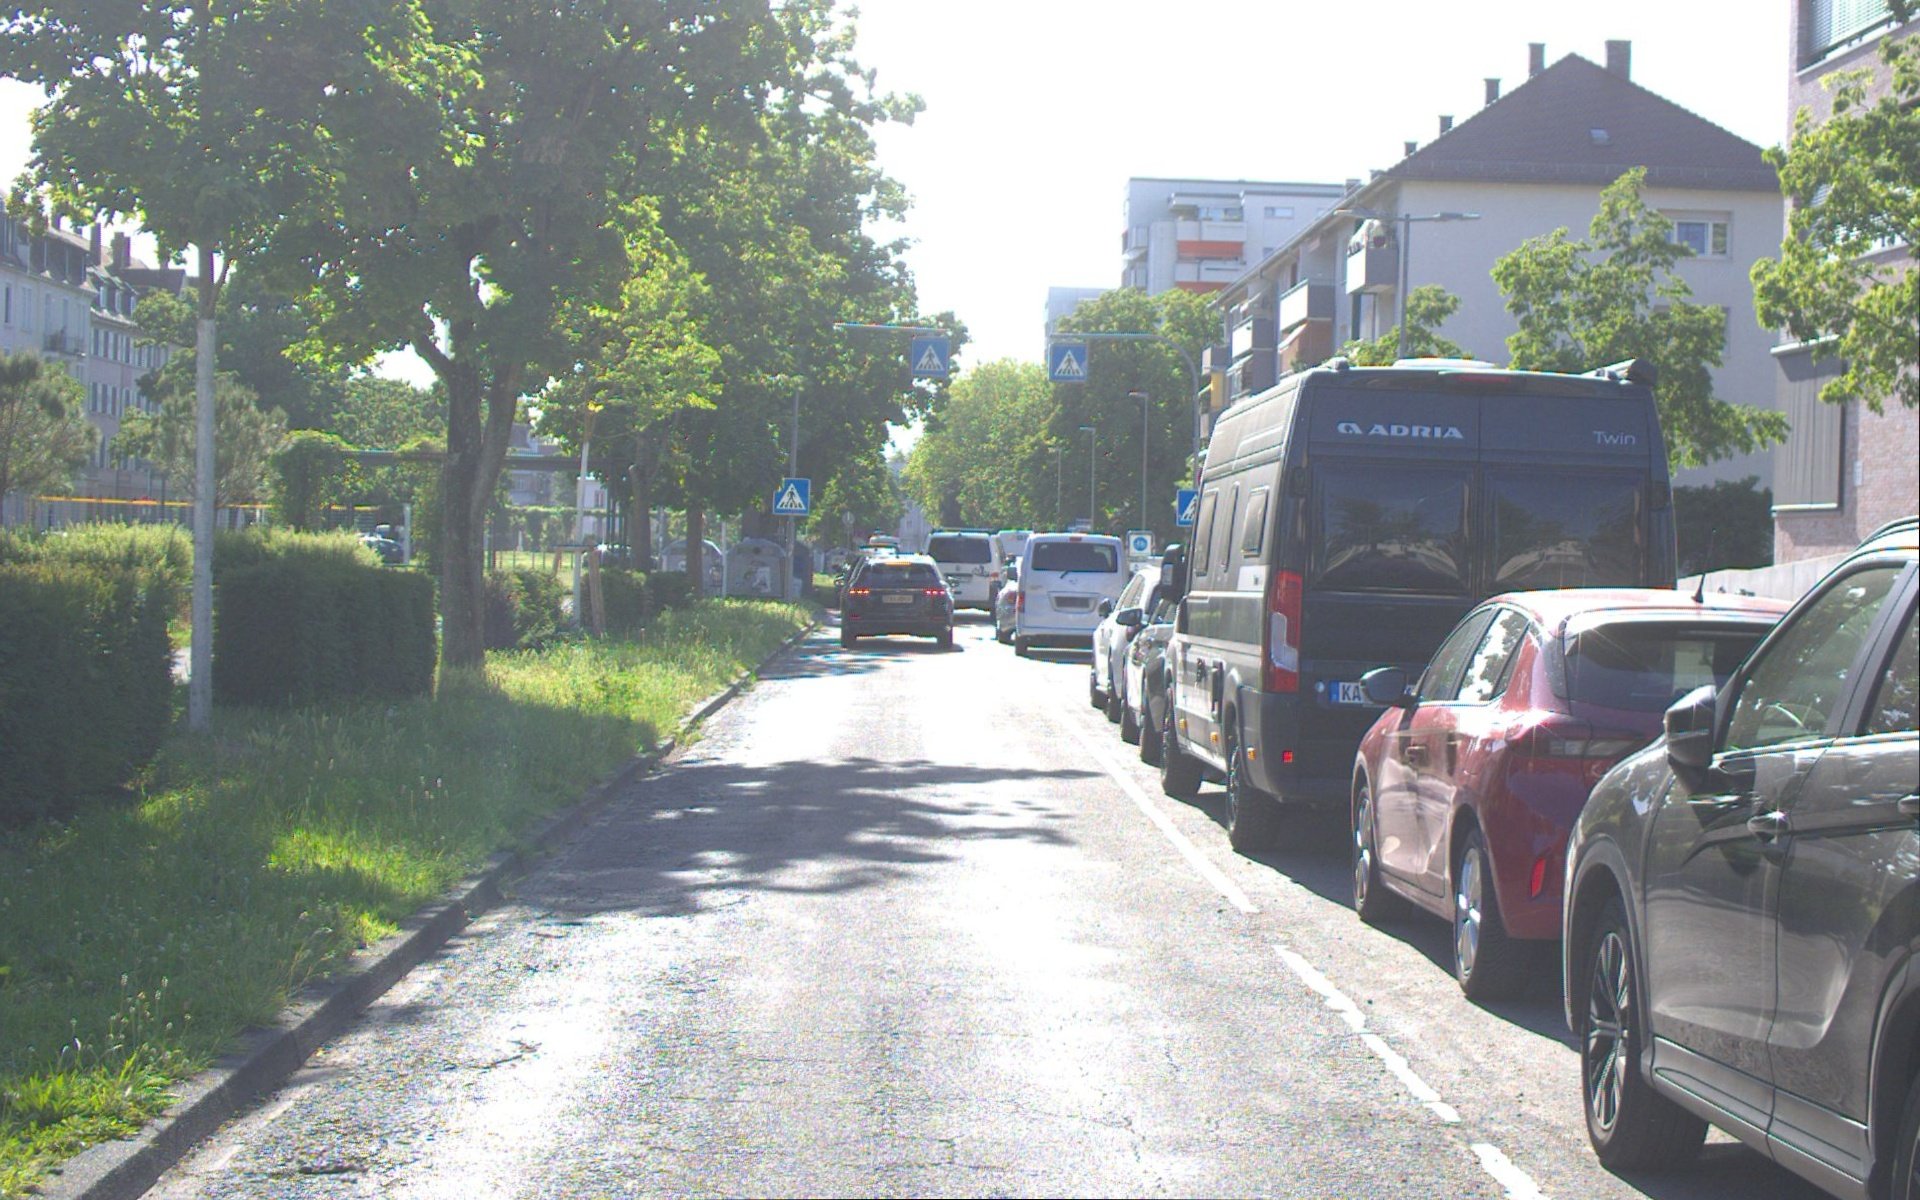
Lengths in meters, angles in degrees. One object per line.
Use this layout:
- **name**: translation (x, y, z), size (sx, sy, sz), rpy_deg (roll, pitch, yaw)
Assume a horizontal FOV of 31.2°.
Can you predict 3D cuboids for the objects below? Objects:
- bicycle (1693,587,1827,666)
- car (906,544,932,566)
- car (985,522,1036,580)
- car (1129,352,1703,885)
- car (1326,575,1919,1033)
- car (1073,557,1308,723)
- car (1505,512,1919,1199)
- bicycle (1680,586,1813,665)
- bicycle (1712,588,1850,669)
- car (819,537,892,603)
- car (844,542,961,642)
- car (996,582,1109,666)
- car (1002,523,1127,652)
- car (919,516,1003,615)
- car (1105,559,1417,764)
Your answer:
- **bicycle**: translation (11.414, 0.374, 49.081), size (1.794, 1.104, 0.500), rpy_deg (-1, 1, -3)
- **car**: translation (-2.905, -3.147, 242.547), size (1.794, 1.505, 4.000), rpy_deg (1, 1, -1)
- **car**: translation (2.200, -2.163, 151.472), size (1.993, 2.422, 4.500), rpy_deg (4, 1, -1)
- **car**: translation (2.353, 0.044, 19.782), size (2.115, 2.507, 6.533), rpy_deg (2, 1, -2)
- **car**: translation (2.597, 0.665, 13.329), size (1.794, 1.450, 3.950), rpy_deg (2, 1, -2)
- **car**: translation (2.129, 0.327, 32.938), size (1.794, 1.415, 4.658), rpy_deg (2, 1, -1)
- **car**: translation (2.551, 0.666, 7.484), size (1.846, 1.634, 4.504), rpy_deg (2, 1, -2)
- **bicycle**: translation (11.343, 0.365, 49.602), size (1.794, 1.104, 0.500), rpy_deg (-1, 1, -3)
- **bicycle**: translation (11.440, 0.397, 47.938), size (1.794, 1.104, 0.500), rpy_deg (-1, 1, -3)
- **car**: translation (-2.730, -0.803, 90.676), size (1.794, 1.619, 4.000), rpy_deg (2, 1, -1)
- **car**: translation (-0.917, -0.160, 55.708), size (1.794, 1.505, 4.000), rpy_deg (2, 1, -1)
- **car**: translation (1.564, 0.393, 59.384), size (1.764, 1.314, 4.168), rpy_deg (3, 0, 0)
- **car**: translation (1.599, -0.222, 53.165), size (1.794, 1.848, 4.413), rpy_deg (2, 1, 1)
- **car**: translation (-0.006, -0.797, 78.153), size (1.794, 2.115, 4.000), rpy_deg (2, 1, -1)
- **car**: translation (2.272, 0.417, 27.158), size (1.993, 1.415, 4.636), rpy_deg (2, 1, 0)
